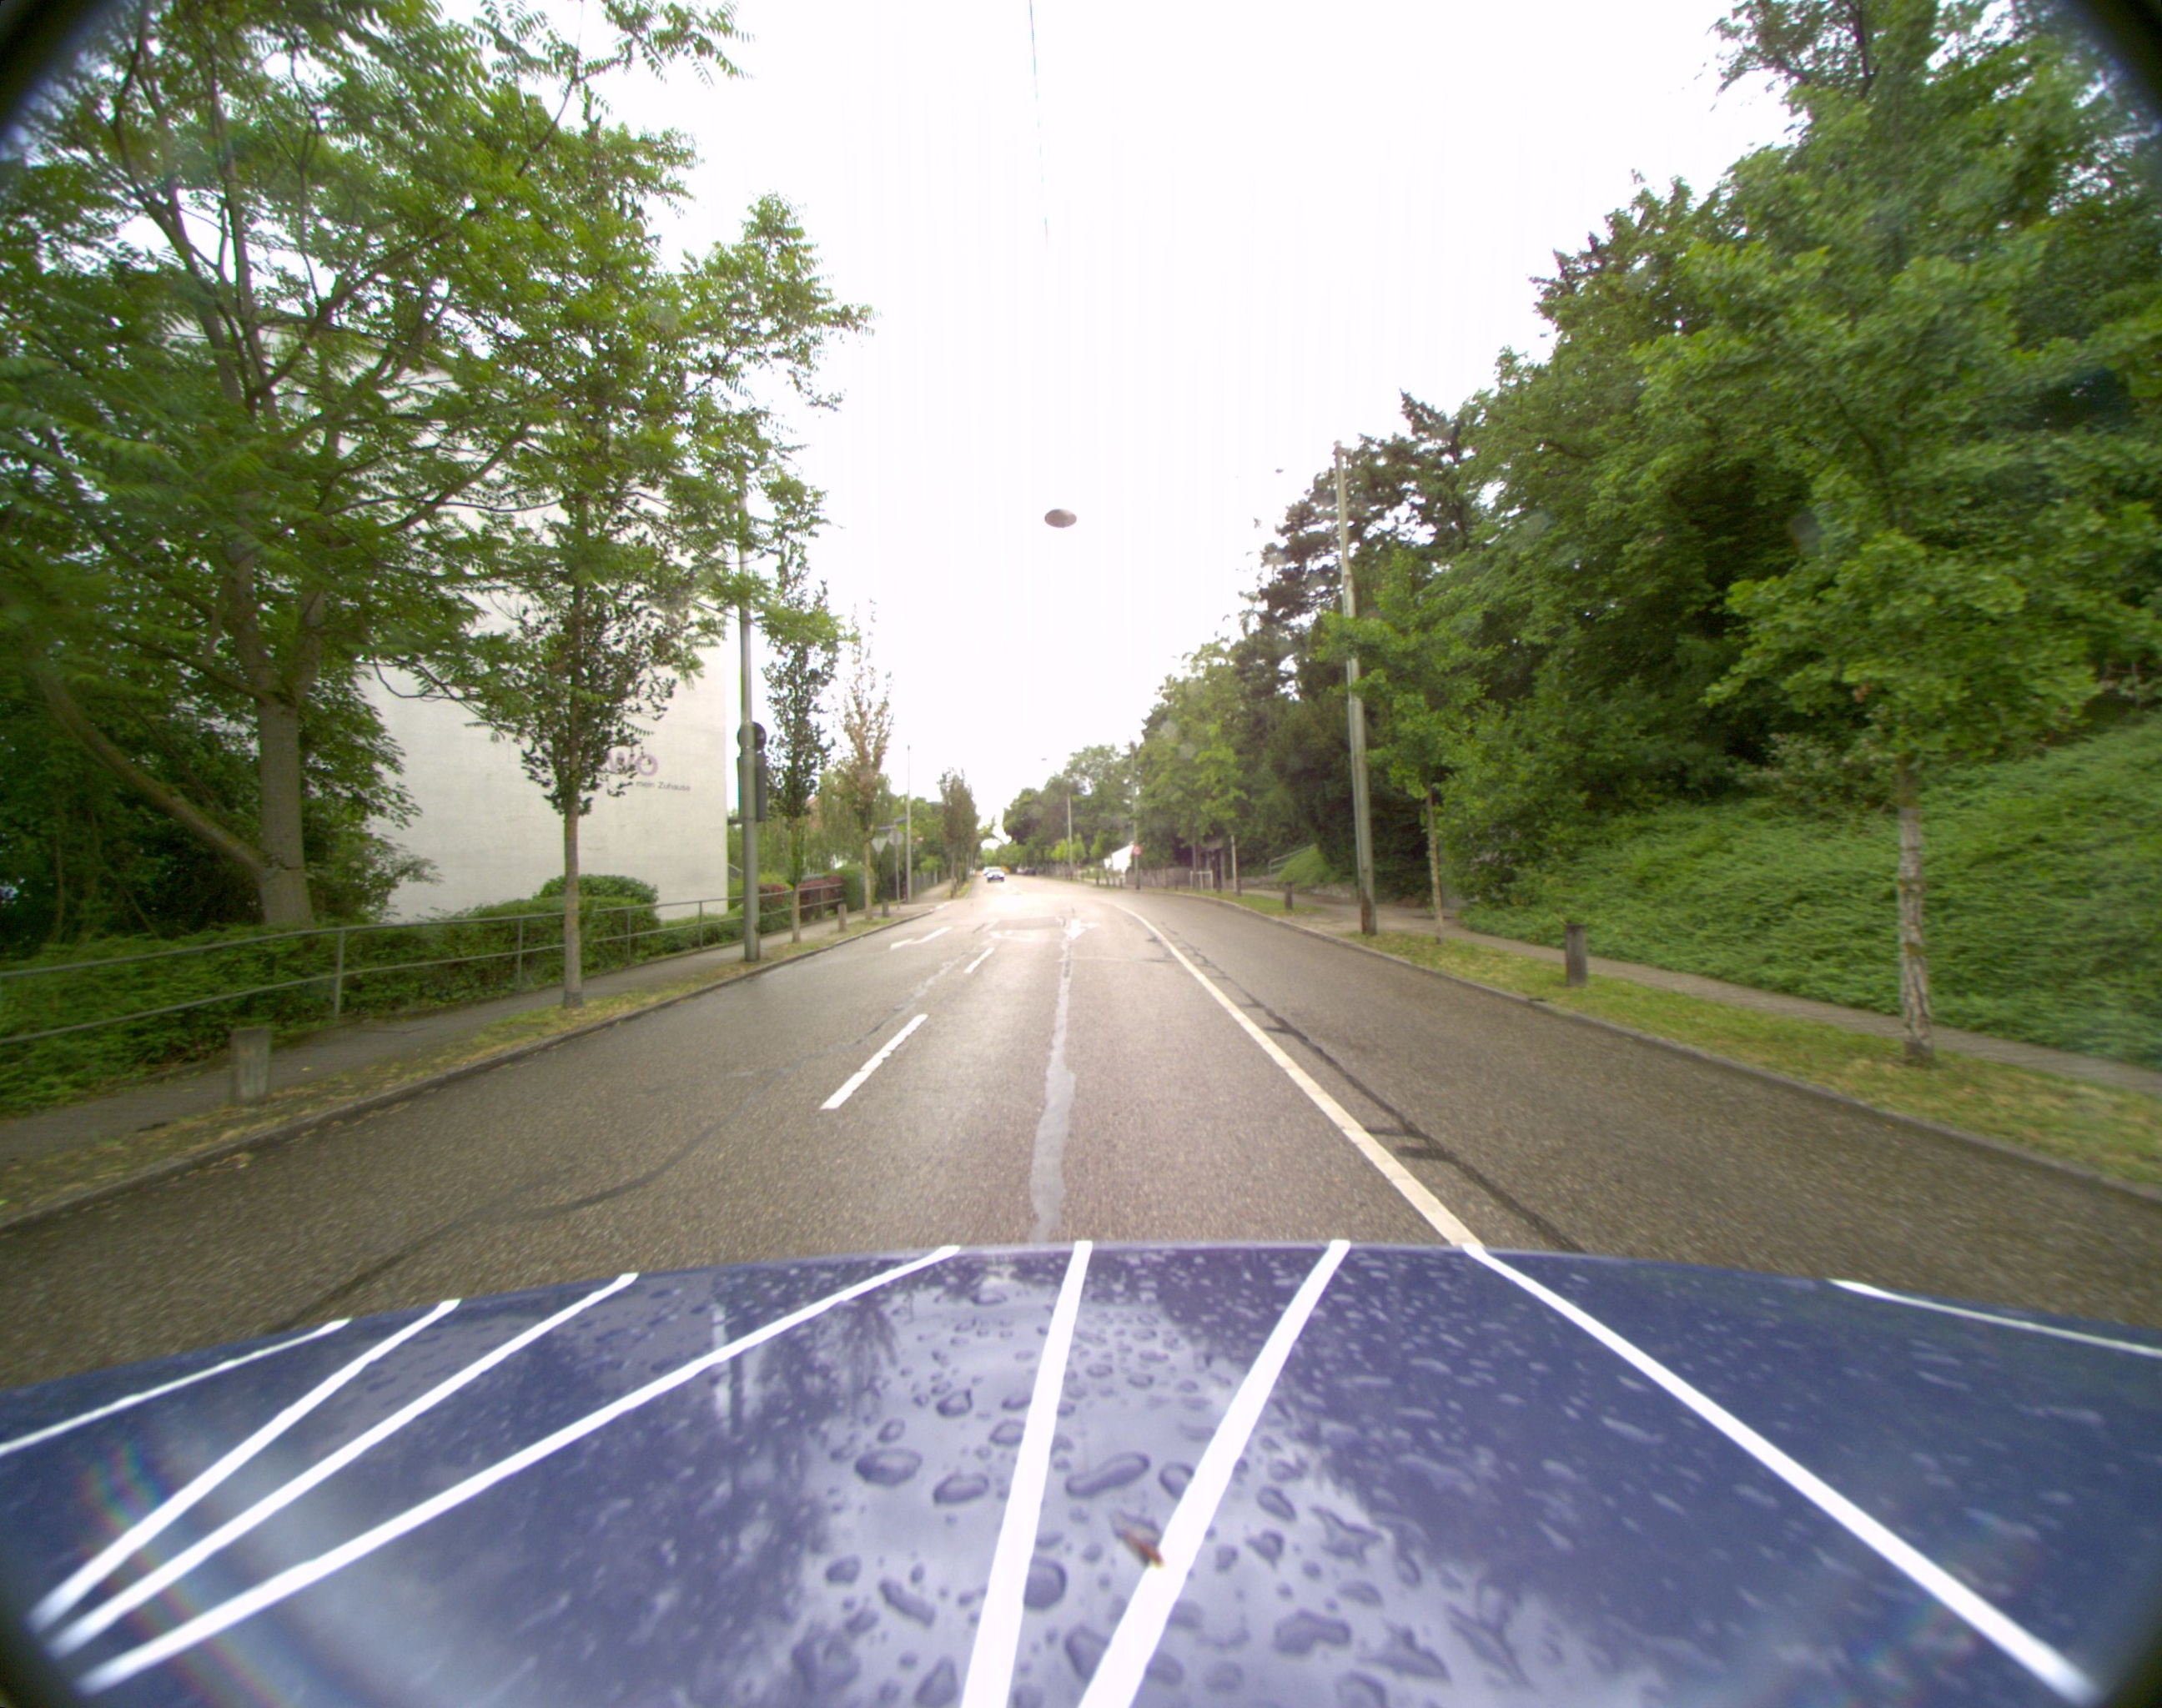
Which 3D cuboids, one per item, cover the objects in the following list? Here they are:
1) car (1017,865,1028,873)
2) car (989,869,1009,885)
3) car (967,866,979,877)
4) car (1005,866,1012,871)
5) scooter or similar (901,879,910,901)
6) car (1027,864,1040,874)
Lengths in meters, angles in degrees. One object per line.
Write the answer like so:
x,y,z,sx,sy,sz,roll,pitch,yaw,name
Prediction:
-11.078,2.872,143.416,1.770,1.477,3.799,1,-1,-7,car
-9.209,2.587,85.882,1.999,1.673,3.999,-5,-1,-5,car
-17.434,2.775,122.416,1.830,1.620,3.997,-2,0,-9,car
-21.110,4.200,221.577,1.751,1.540,3.915,1,-1,-8,car
-10.609,2.157,45.963,0.344,1.247,1.266,-5,1,-8,scooter or similar
-7.616,2.351,121.648,1.917,1.575,4.584,1,0,-6,car
